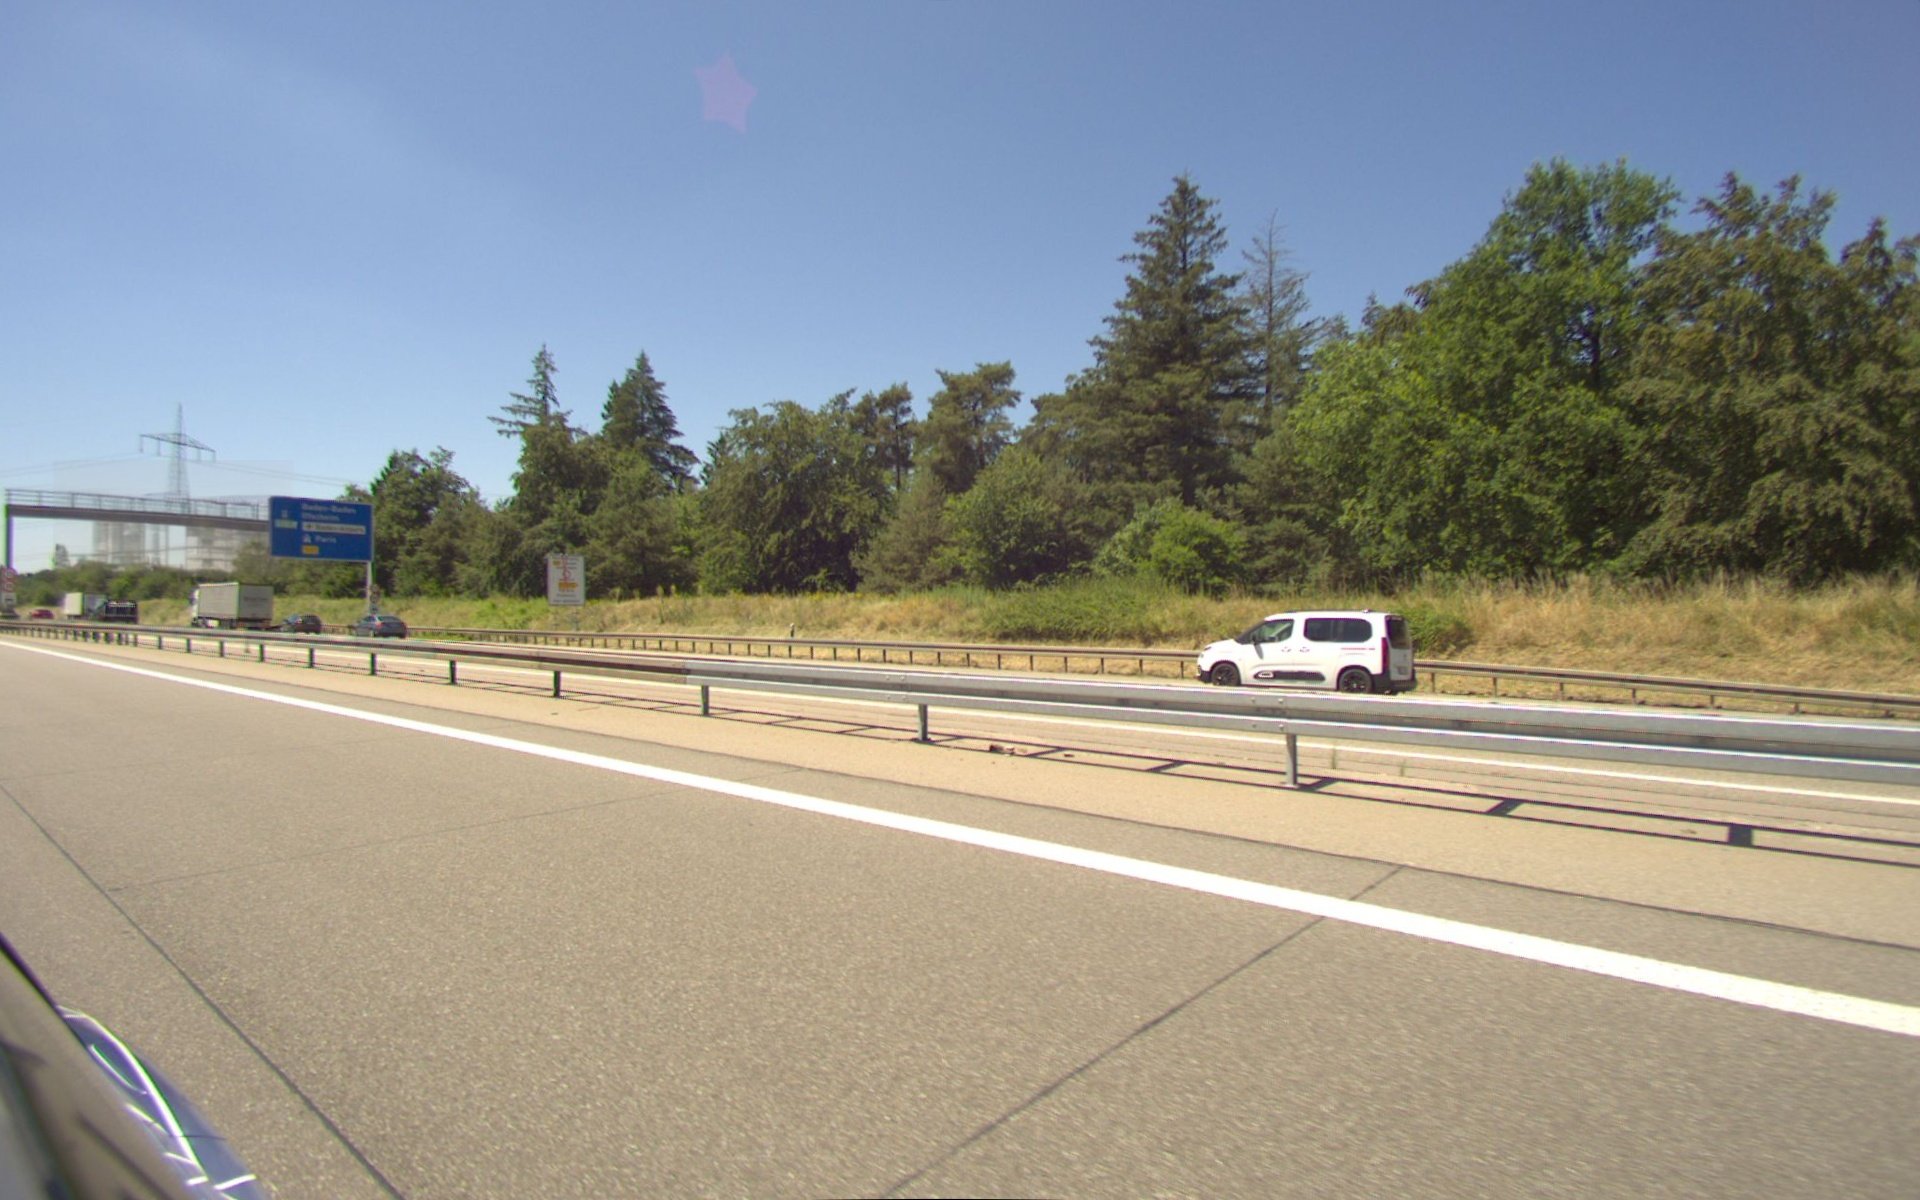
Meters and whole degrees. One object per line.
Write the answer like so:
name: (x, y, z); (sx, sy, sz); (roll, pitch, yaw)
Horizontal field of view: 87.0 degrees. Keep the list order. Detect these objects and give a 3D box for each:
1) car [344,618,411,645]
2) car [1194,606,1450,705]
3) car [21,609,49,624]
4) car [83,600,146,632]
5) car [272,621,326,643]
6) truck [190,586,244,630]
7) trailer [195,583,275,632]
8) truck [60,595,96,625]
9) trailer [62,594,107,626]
car: (-34.058, 1.820, 59.079); (4.940, 1.474, 1.906); (-1, -2, 41)
car: (7.454, 1.094, 21.086); (4.640, 1.842, 1.973); (-1, -3, 41)
car: (-104.835, 1.883, 114.689); (4.919, 1.622, 1.827); (-1, 0, 41)
car: (-52.935, 1.019, 63.343); (4.940, 1.955, 2.256); (-1, -2, 41)
car: (-47.934, 2.292, 73.343); (4.940, 1.474, 2.063); (-1, -2, 41)
truck: (-68.847, 0.714, 93.725); (5.400, 3.960, 3.134); (-1, 0, 43)
trailer: (-63.904, 0.658, 89.036); (13.964, 3.960, 3.133); (-1, 0, 43)
truck: (-123.793, 1.392, 142.027); (6.215, 4.048, 3.179); (-1, -1, 43)
trailer: (-118.984, 1.334, 137.498); (14.361, 4.073, 3.179); (-1, 0, 43)
